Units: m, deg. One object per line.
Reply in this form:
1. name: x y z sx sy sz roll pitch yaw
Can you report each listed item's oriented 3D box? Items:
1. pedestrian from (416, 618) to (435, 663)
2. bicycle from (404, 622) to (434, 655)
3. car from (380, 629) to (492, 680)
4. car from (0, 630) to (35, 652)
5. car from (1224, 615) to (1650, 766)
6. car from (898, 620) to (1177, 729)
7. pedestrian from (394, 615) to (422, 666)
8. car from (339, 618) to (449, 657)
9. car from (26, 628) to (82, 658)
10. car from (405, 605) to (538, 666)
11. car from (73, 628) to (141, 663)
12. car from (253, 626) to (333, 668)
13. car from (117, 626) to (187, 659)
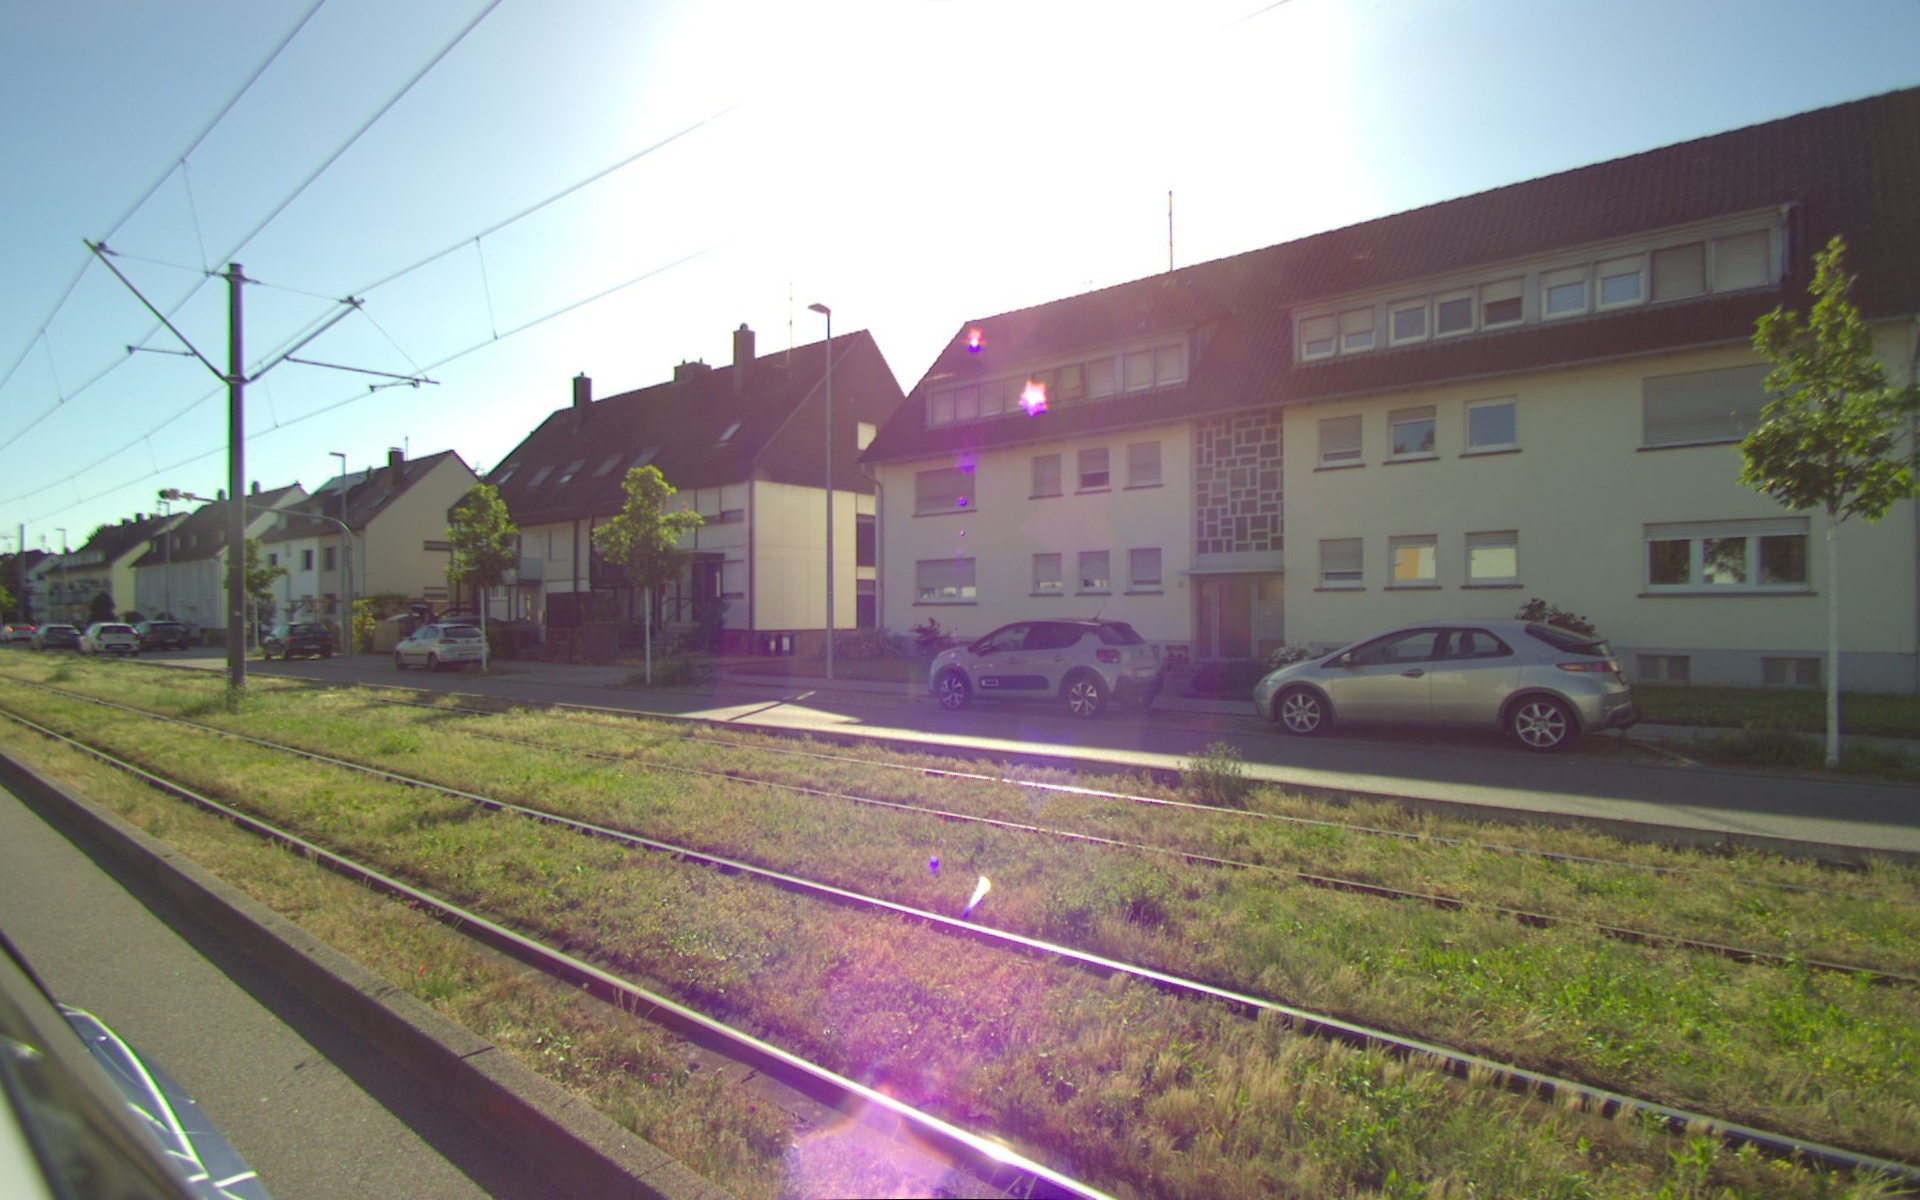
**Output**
1. pedestrian: -20.330 1.529 38.517 0.544 1.701 0.625 -1 0 -34
2. bicycle: -19.975 1.418 37.326 0.471 1.172 1.873 -1 0 -44
3. car: -16.353 1.645 31.523 4.099 1.447 1.641 -2 -1 40
4. car: -71.478 3.062 76.420 4.089 1.542 1.809 -1 0 40
5. car: 5.678 0.960 12.386 4.439 1.486 1.672 -1 0 40
6. car: 1.155 1.100 16.317 4.311 1.484 1.672 -1 0 40
7. pedestrian: -20.232 1.474 37.111 0.676 1.829 0.611 -1 0 32
8. car: -27.950 1.843 50.038 1.968 1.797 4.348 -2 -2 40
9. car: -49.061 2.274 54.772 4.079 1.486 1.672 -1 0 40
10. car: -19.662 1.393 40.864 1.786 2.096 4.415 -1 2 41
11. car: -38.085 2.014 45.158 3.676 1.487 1.671 -1 -2 40
12. car: -26.109 1.806 39.580 4.083 1.523 1.602 -2 0 42
13. car: -42.592 2.187 53.328 4.853 1.572 1.902 -1 0 39
